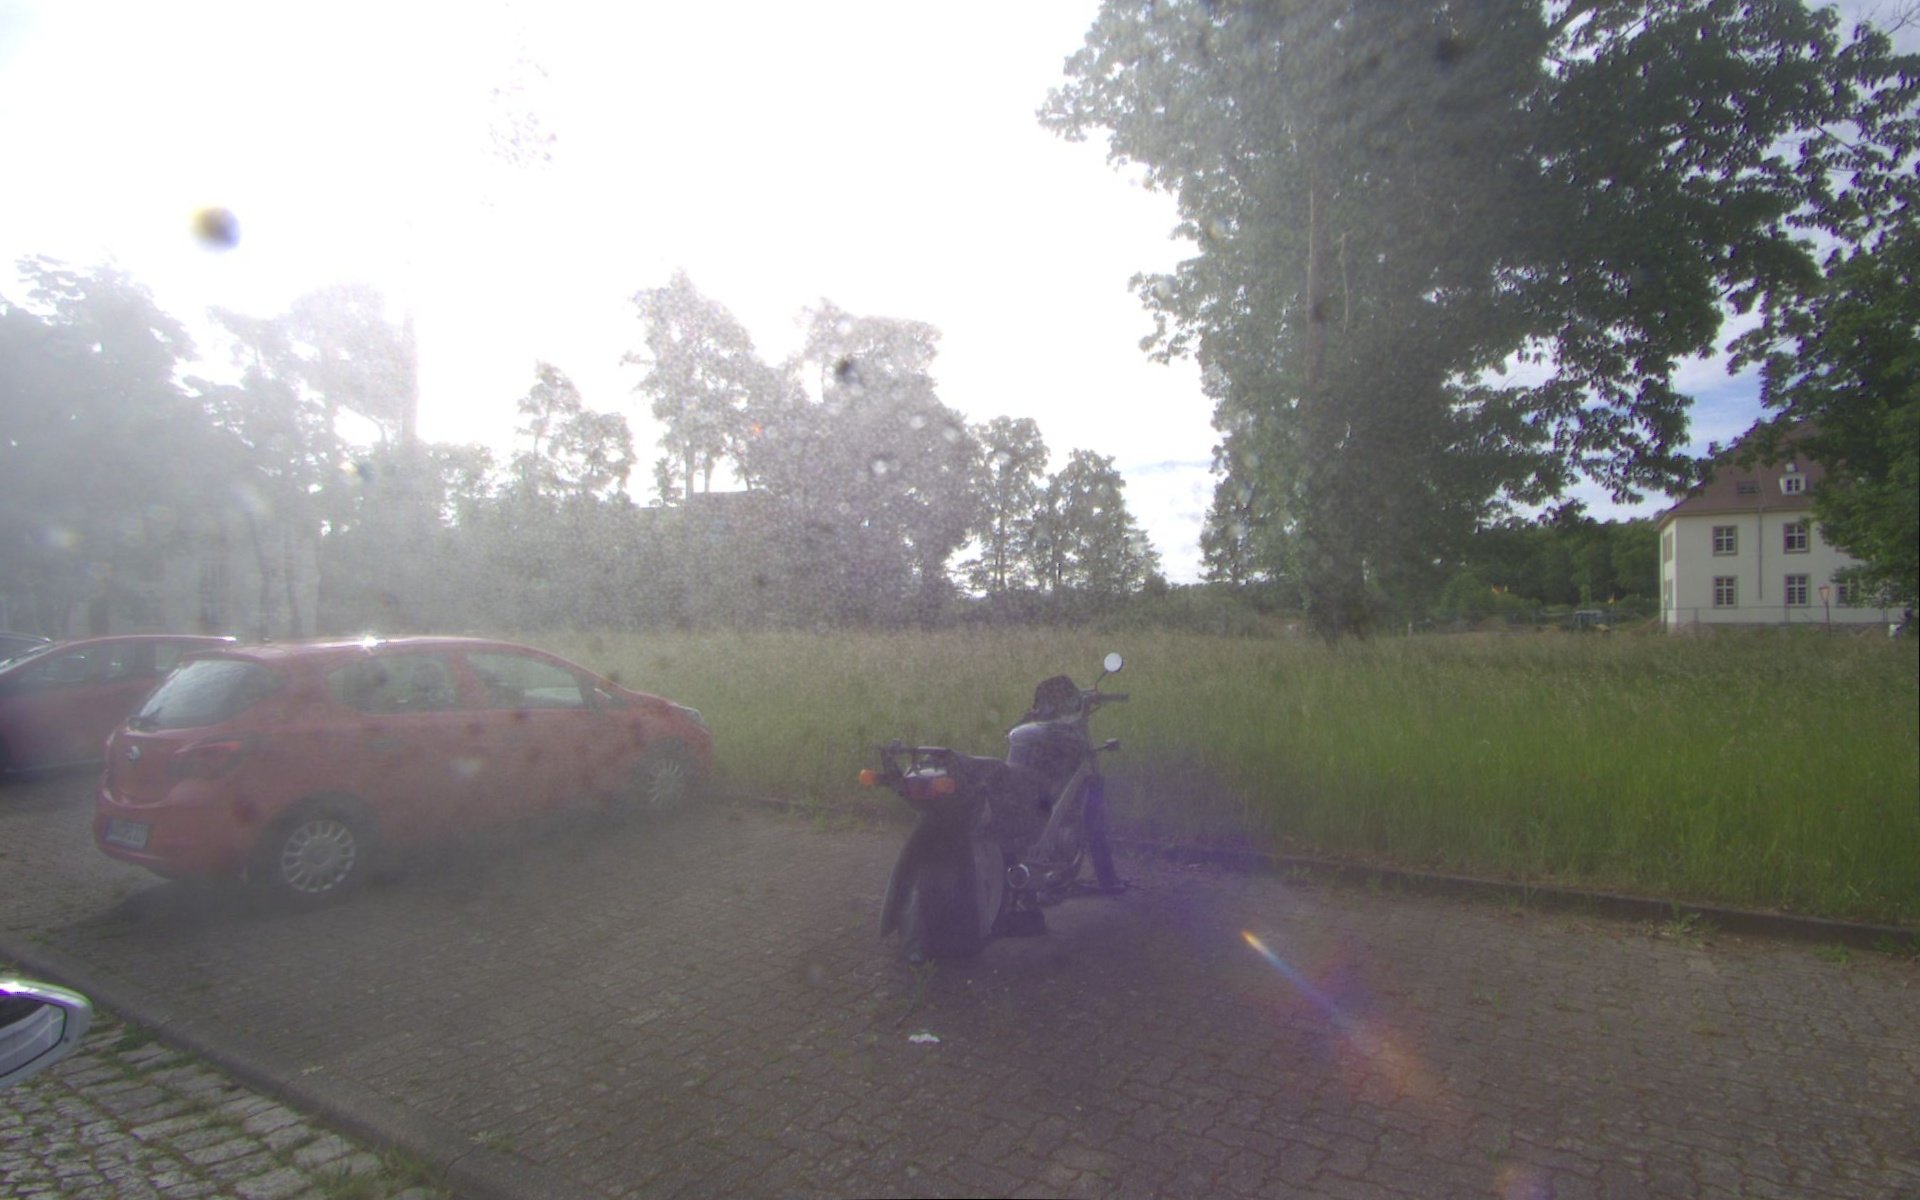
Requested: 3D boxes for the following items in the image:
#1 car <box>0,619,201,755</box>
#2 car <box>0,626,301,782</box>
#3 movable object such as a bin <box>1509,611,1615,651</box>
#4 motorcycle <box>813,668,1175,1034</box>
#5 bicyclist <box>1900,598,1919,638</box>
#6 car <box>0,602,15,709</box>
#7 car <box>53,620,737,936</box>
[{"bbox_3d":[-12.143,1.074,12.385,1.725,1.573,4.023,-1,0,29],"label":"car"},{"bbox_3d":[-9.832,1.087,11.154,1.726,1.479,3.784,-1,0,32],"label":"car"},{"bbox_3d":[41.807,2.194,69.668,2.152,2.688,5.928,1,-2,-40],"label":"movable object such as a bin"},{"bbox_3d":[0.316,1.005,4.889,0.783,1.201,2.324,-1,0,29],"label":"motorcycle"},{"bbox_3d":[40.863,0.787,42.874,0.761,1.717,0.724,-1,-1,32],"label":"bicyclist"},{"bbox_3d":[-19.636,1.058,17.079,1.903,1.980,4.747,-1,0,30],"label":"car"},{"bbox_3d":[-3.576,0.937,7.050,1.754,1.479,3.818,-1,0,31],"label":"car"}]
